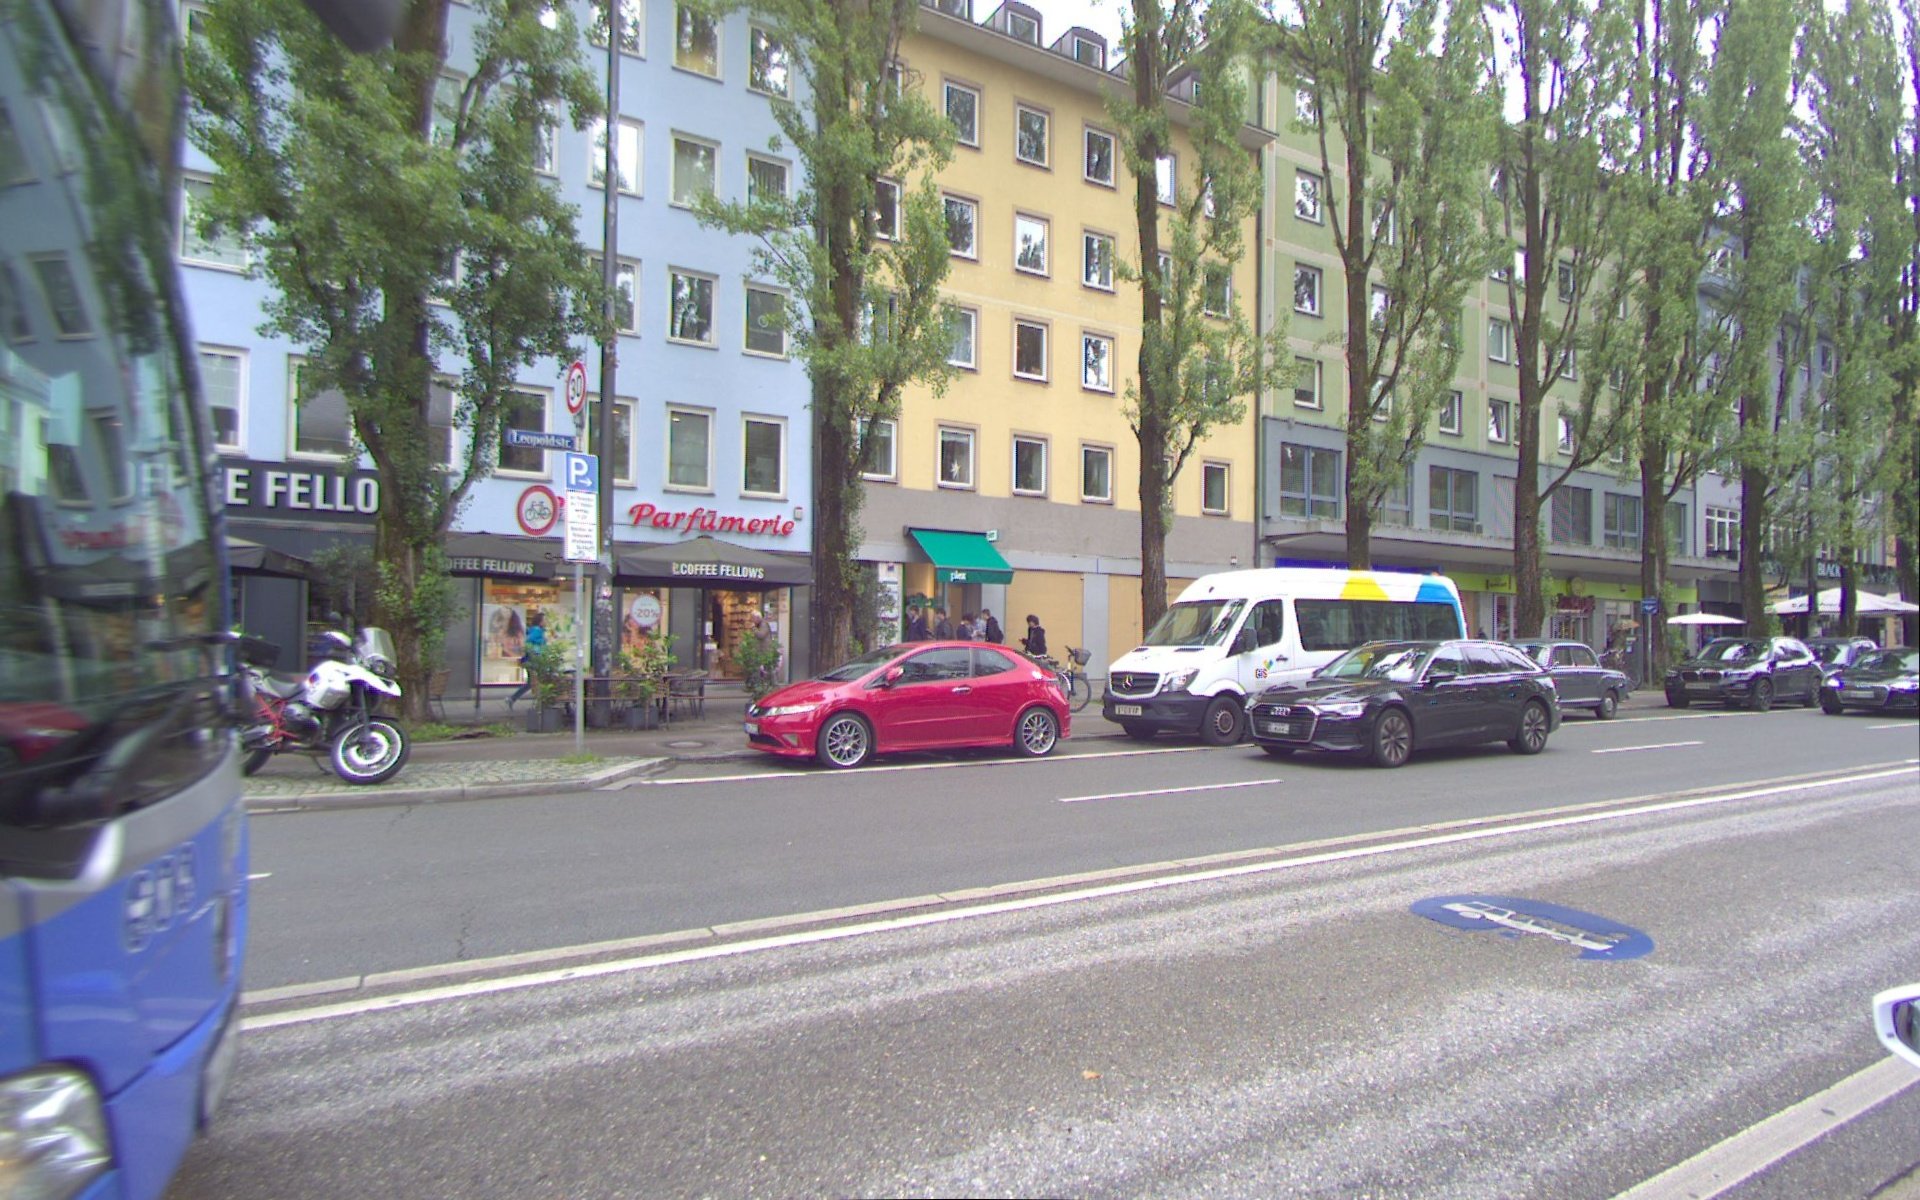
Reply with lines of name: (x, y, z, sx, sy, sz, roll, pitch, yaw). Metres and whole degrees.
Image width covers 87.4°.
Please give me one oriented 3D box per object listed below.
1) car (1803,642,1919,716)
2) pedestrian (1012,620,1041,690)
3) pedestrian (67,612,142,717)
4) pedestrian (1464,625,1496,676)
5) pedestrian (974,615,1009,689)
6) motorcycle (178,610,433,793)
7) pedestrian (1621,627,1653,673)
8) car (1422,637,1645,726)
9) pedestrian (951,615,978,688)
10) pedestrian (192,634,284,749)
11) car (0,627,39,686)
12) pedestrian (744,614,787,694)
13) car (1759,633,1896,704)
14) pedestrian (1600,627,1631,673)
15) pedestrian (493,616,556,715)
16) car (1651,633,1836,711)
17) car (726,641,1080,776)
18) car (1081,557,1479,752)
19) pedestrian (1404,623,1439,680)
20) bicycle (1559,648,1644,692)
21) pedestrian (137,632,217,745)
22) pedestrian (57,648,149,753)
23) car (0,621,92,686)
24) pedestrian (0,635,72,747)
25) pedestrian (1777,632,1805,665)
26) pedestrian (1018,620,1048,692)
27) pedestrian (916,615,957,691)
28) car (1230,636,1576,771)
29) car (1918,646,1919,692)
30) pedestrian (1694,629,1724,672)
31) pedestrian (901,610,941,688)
car: (20.175, 1.657, 21.684, 4.081, 1.453, 1.738, 2, -3, -30)
pedestrian: (1.665, 1.368, 25.140, 0.712, 1.722, 0.700, 0, -2, 5)
pedestrian: (-15.192, 1.126, 17.837, 0.933, 1.796, 0.699, -1, -2, 30)
pedestrian: (17.919, 1.740, 34.640, 0.749, 1.708, 0.670, 2, -3, -29)
pedestrian: (0.718, 1.175, 22.865, 0.713, 1.657, 0.699, 0, -2, -6)
motorcycle: (-6.233, 0.909, 9.564, 2.301, 1.584, 0.715, 1, -1, 18)
pedestrian: (25.169, 1.863, 37.353, 0.667, 1.708, 0.753, 2, -3, -28)
car: (11.265, 1.531, 19.680, 4.362, 1.572, 1.858, 2, -3, -30)
pedestrian: (0.105, 1.180, 23.030, 0.553, 1.657, 0.699, 0, -2, -6)
pedestrian: (-9.001, 1.116, 12.560, 0.838, 1.380, 0.694, 1, -2, -31)
car: (-30.716, 1.767, 31.210, 2.093, 1.789, 4.551, 1, -3, -30)
pedestrian: (-4.119, 1.134, 21.281, 0.718, 1.657, 0.695, 1, -2, -28)
car: (22.908, 1.768, 26.499, 3.880, 1.743, 1.700, 2, -3, -33)
pedestrian: (24.847, 1.898, 38.064, 0.667, 1.708, 0.753, 2, -3, -28)
pedestrian: (-7.538, 1.121, 17.382, 0.938, 1.668, 0.695, 1, -2, -27)
car: (18.545, 1.665, 23.737, 4.557, 1.686, 1.858, 2, -3, -30)
car: (-0.661, 1.254, 12.562, 4.100, 1.438, 1.729, 2, -3, -30)
car: (5.275, 0.850, 16.043, 6.831, 2.601, 1.996, 2, -3, -30)
pedestrian: (14.134, 1.578, 30.767, 0.667, 1.708, 0.753, 2, -3, -29)
bicycle: (18.612, 2.015, 29.162, 0.712, 1.110, 1.933, 1, 1, -36)
pedestrian: (-9.908, 1.096, 12.734, 0.692, 1.380, 0.709, 1, -2, -32)
pedestrian: (-10.283, 1.184, 12.085, 0.692, 1.198, 0.811, 1, -2, -31)
car: (-36.150, 2.108, 39.567, 1.959, 2.396, 4.554, 1, -3, -29)
pedestrian: (-11.889, 1.130, 12.702, 0.808, 1.380, 0.695, 1, -2, -27)
pedestrian: (37.317, 2.167, 45.125, 0.792, 1.428, 0.760, 2, 0, -35)
pedestrian: (1.788, 1.349, 24.418, 0.712, 1.722, 0.700, 0, -2, 4)
pedestrian: (-0.545, 1.209, 23.175, 0.717, 1.722, 0.695, 1, -2, -25)
car: (5.796, 1.234, 12.977, 4.657, 1.481, 1.690, 2, -3, -30)
car: (32.323, 2.173, 31.866, 4.095, 1.444, 1.725, 2, -3, -30)
pedestrian: (29.909, 2.013, 40.108, 0.667, 1.708, 0.753, 2, -3, -29)
pedestrian: (-0.933, 1.165, 23.867, 0.717, 1.818, 0.695, 1, -2, -25)
